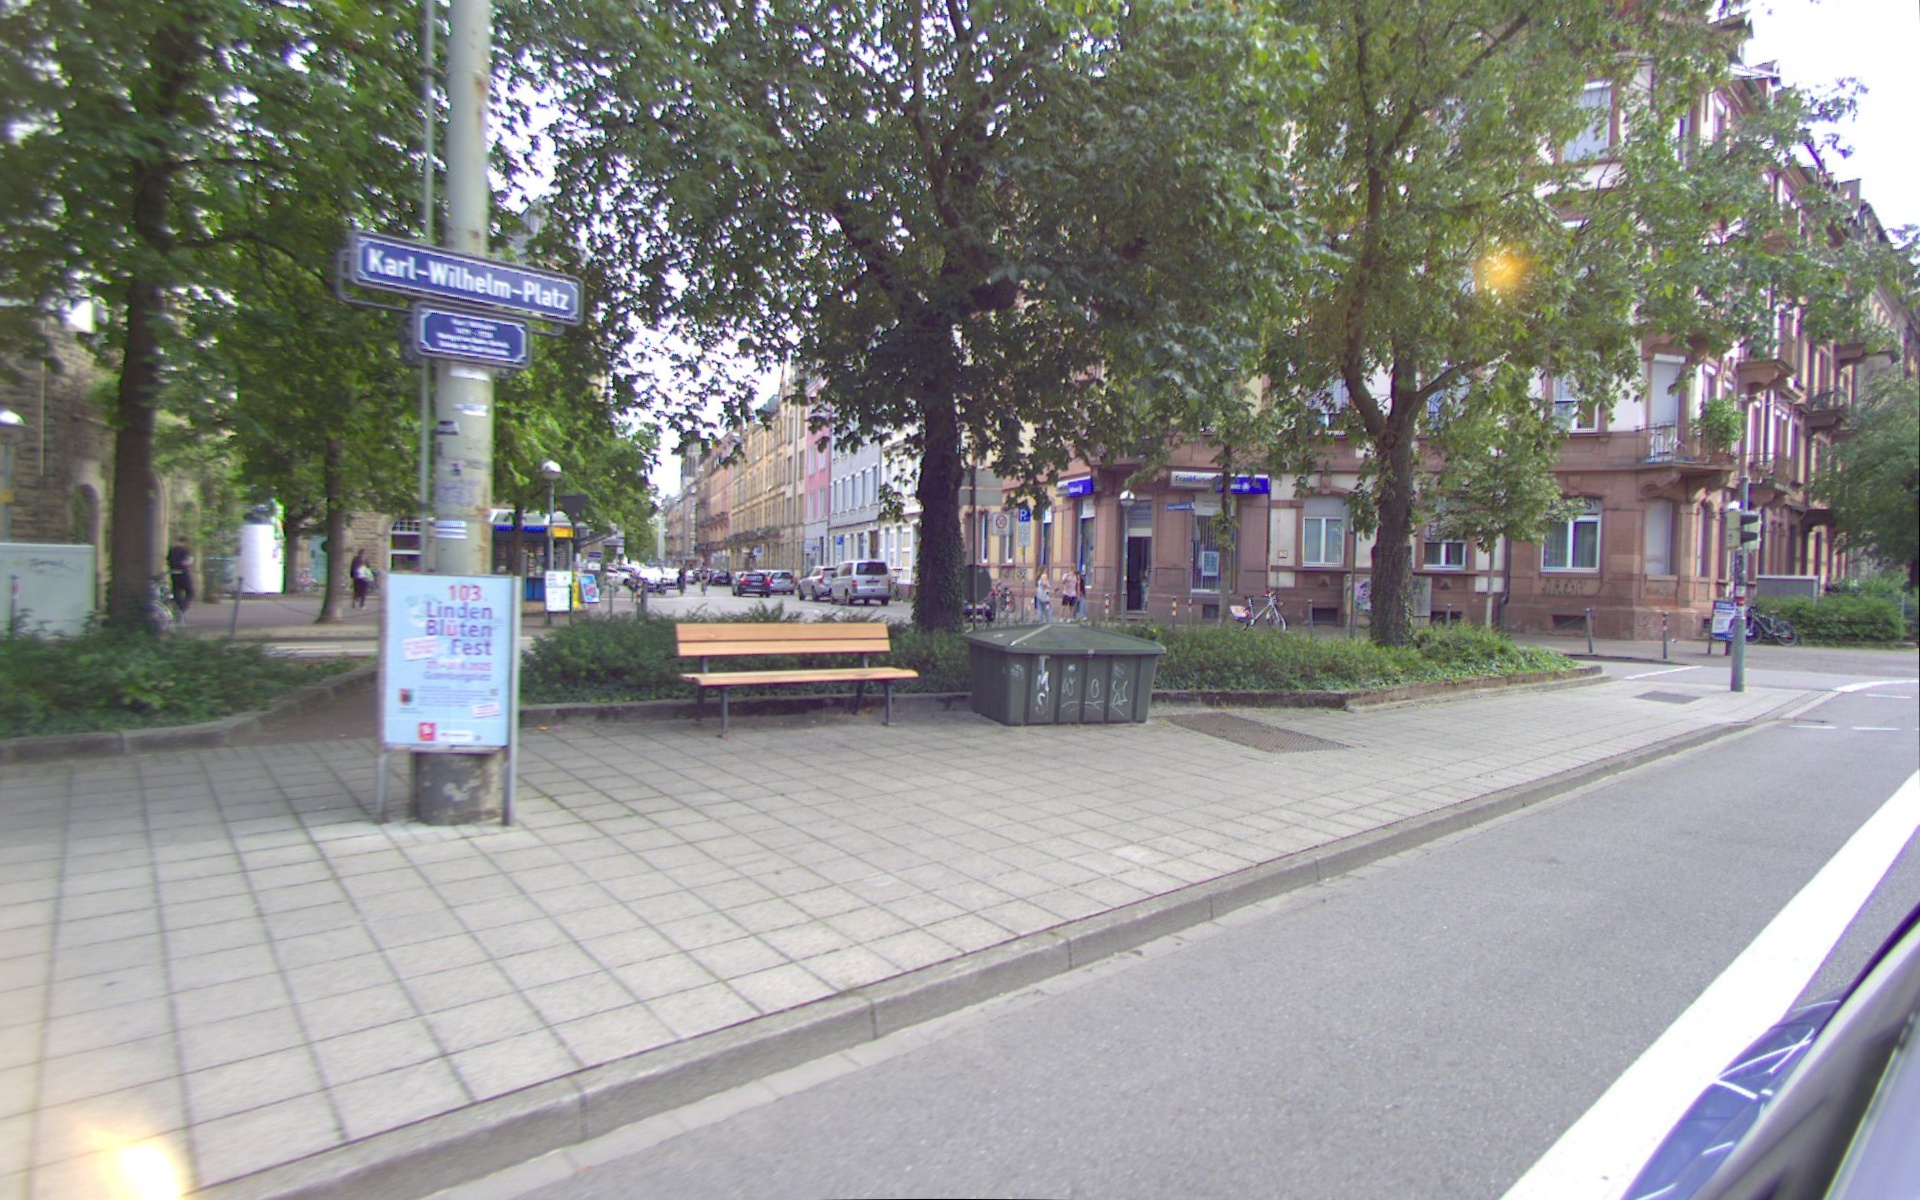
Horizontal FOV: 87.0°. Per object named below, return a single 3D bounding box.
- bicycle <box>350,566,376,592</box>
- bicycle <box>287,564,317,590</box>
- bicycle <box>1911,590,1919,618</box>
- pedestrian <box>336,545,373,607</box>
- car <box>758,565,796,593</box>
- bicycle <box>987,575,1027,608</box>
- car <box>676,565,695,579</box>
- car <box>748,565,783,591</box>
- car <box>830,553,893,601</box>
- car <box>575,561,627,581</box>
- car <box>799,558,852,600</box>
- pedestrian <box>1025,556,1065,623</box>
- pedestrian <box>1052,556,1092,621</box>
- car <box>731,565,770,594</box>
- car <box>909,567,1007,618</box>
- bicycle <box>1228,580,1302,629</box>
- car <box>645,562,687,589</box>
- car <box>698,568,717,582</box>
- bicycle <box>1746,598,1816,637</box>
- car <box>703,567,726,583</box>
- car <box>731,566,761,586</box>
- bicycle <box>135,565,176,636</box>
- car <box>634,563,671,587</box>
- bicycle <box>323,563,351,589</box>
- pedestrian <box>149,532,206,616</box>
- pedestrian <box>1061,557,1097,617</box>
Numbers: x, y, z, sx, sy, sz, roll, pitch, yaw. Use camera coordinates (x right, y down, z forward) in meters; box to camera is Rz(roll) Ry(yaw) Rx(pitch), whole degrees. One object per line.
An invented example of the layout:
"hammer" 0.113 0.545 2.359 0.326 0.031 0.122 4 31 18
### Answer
"bicycle" -27.044 -0.964 45.877 0.595 1.130 1.903 1 2 -17
"bicycle" -29.323 -1.029 45.102 0.595 1.130 1.903 1 2 -17
"bicycle" 46.367 0.226 47.363 0.757 1.328 2.627 0 2 -43
"pedestrian" -16.409 -0.664 27.430 0.717 1.643 0.837 1 1 -21
"car" -11.971 -1.403 65.989 1.780 1.771 4.010 1 2 -20
"bicycle" 1.697 -0.312 36.973 0.659 1.135 1.944 1 2 -22
"car" -33.022 -3.365 121.566 1.958 1.538 4.010 1 2 -18
"car" -13.784 -1.555 71.568 1.780 1.771 4.010 1 2 -20
"car" -4.423 -1.023 44.844 1.829 2.005 4.010 1 2 -20
"car" -29.362 -2.398 82.824 3.915 1.538 2.005 1 2 -18
"car" -6.724 -1.082 50.313 1.780 1.967 4.165 1 2 -20
"pedestrian" 2.307 -0.294 27.457 0.875 1.750 0.734 2 2 -8
"pedestrian" 3.093 -0.327 28.065 0.741 1.750 0.895 2 2 -17
"car" -11.985 -1.191 57.774 1.780 1.542 4.010 1 2 -18
"car" -0.138 -0.274 31.345 1.780 1.459 4.010 1 2 -20
"bicycle" 7.827 0.100 26.015 1.665 1.158 0.663 3 2 41
"car" -17.107 -1.430 58.863 1.958 1.538 4.009 0 1 -22
"car" -29.801 -2.991 119.462 1.958 1.538 4.010 1 2 -18
"bicycle" 22.028 0.465 27.162 1.518 0.981 0.511 1 1 -8
"car" -24.896 -2.534 102.371 1.958 1.538 4.010 1 2 -18
"car" -17.363 -1.954 81.890 1.958 1.538 4.010 1 2 -18
"bicycle" -14.004 -0.017 17.602 0.523 1.142 1.892 0 2 -39
"car" -19.882 -1.615 65.305 1.958 1.538 4.009 0 1 -22
"bicycle" -28.176 -1.081 45.767 0.595 1.130 1.903 1 2 -17
"pedestrian" -16.159 -0.531 20.921 0.717 1.696 0.837 1 1 -21
"pedestrian" 3.560 -0.402 30.299 0.717 1.750 0.895 2 2 -17
